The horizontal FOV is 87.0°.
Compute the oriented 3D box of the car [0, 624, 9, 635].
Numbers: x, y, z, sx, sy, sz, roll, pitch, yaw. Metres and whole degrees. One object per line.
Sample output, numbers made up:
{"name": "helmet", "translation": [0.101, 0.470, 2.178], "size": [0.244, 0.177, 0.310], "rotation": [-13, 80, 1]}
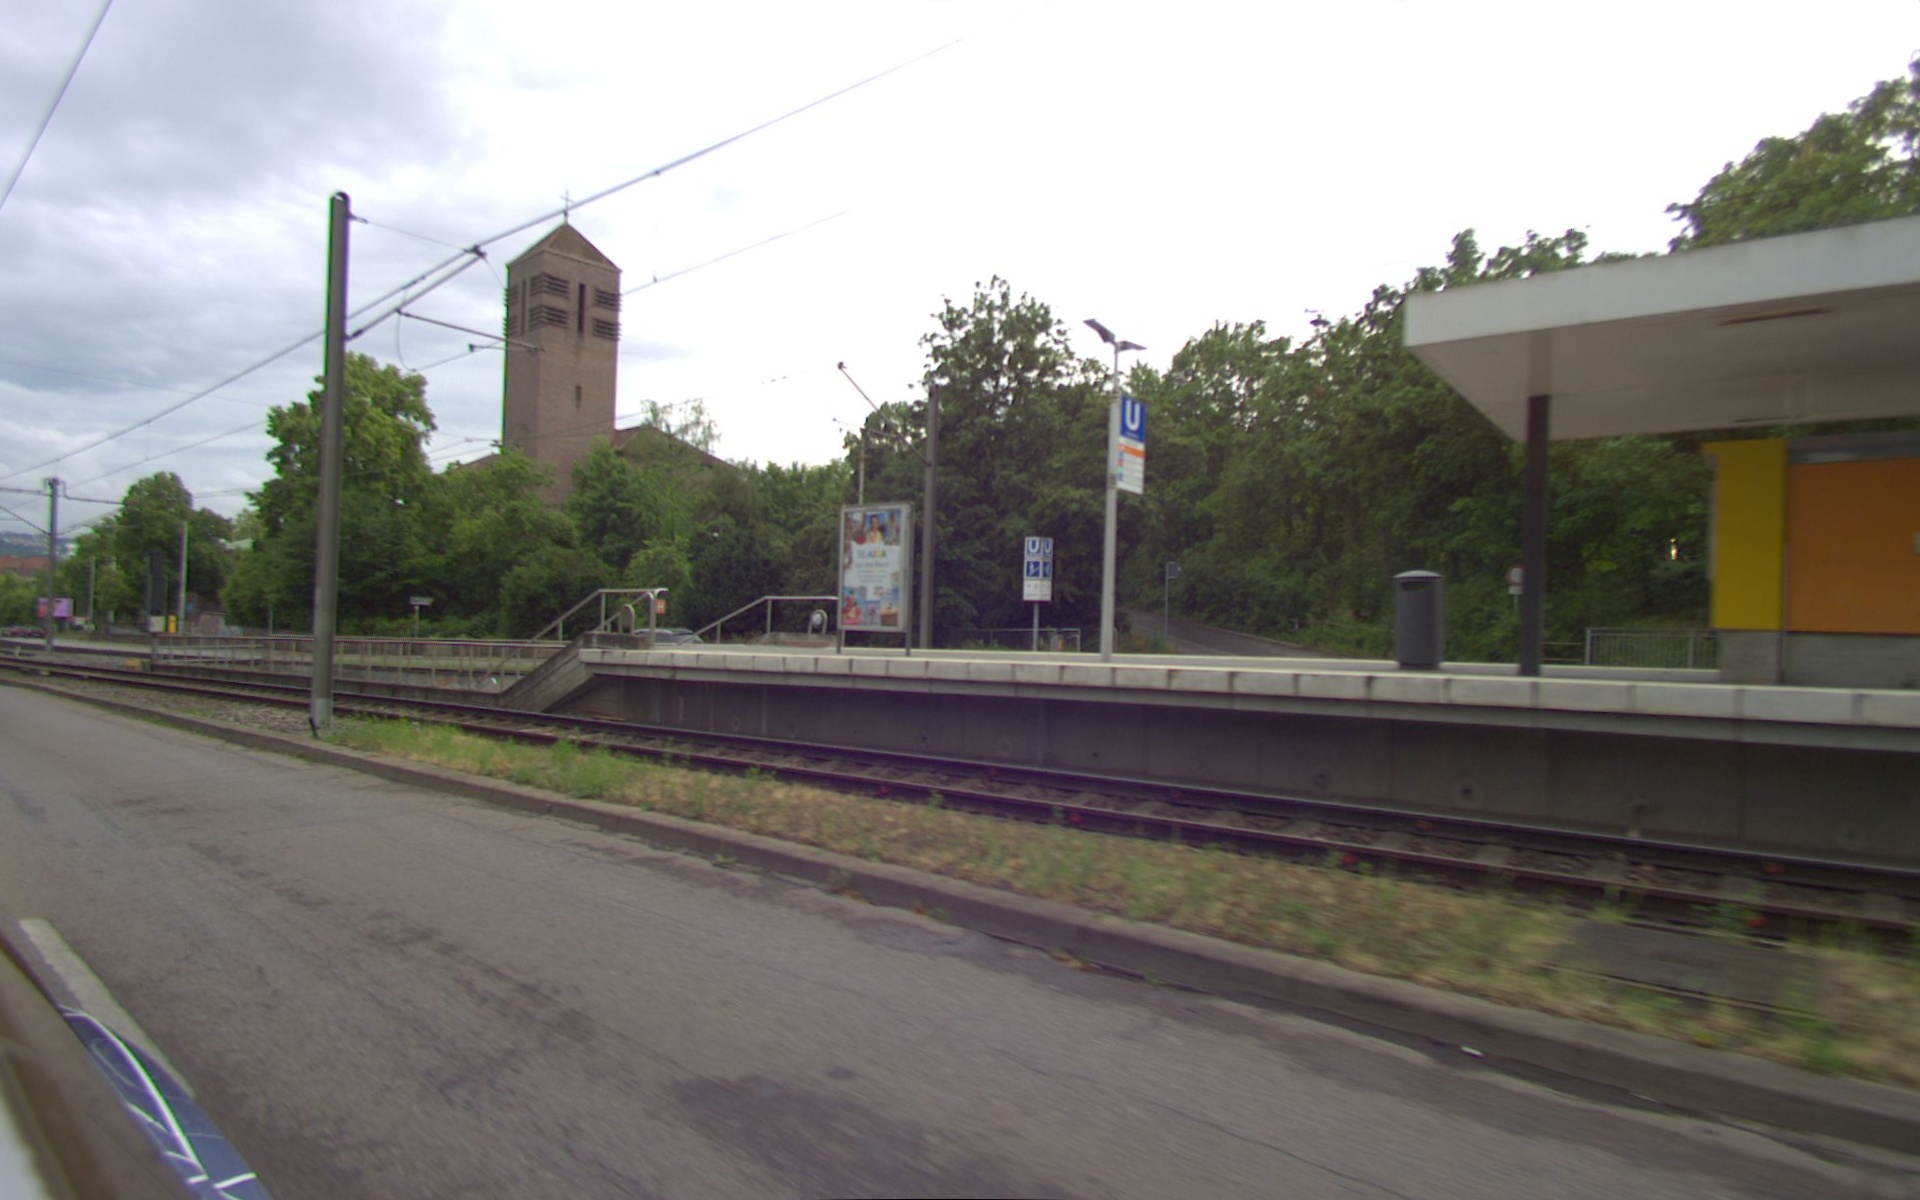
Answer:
{"name": "car", "translation": [-144.031, 4.434, 151.470], "size": [4.410, 1.656, 1.972], "rotation": [-2, -4, 42]}

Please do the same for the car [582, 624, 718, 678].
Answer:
{"name": "car", "translation": [-10.099, 1.588, 32.877], "size": [4.510, 1.636, 1.975], "rotation": [-1, -2, 37]}

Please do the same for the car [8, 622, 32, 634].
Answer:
{"name": "car", "translation": [-131.924, 3.913, 142.071], "size": [4.523, 1.656, 1.972], "rotation": [-2, -4, 42]}

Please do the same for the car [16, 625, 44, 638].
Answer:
{"name": "car", "translation": [-113.369, 3.821, 123.398], "size": [4.319, 1.452, 1.945], "rotation": [-1, -4, 40]}
